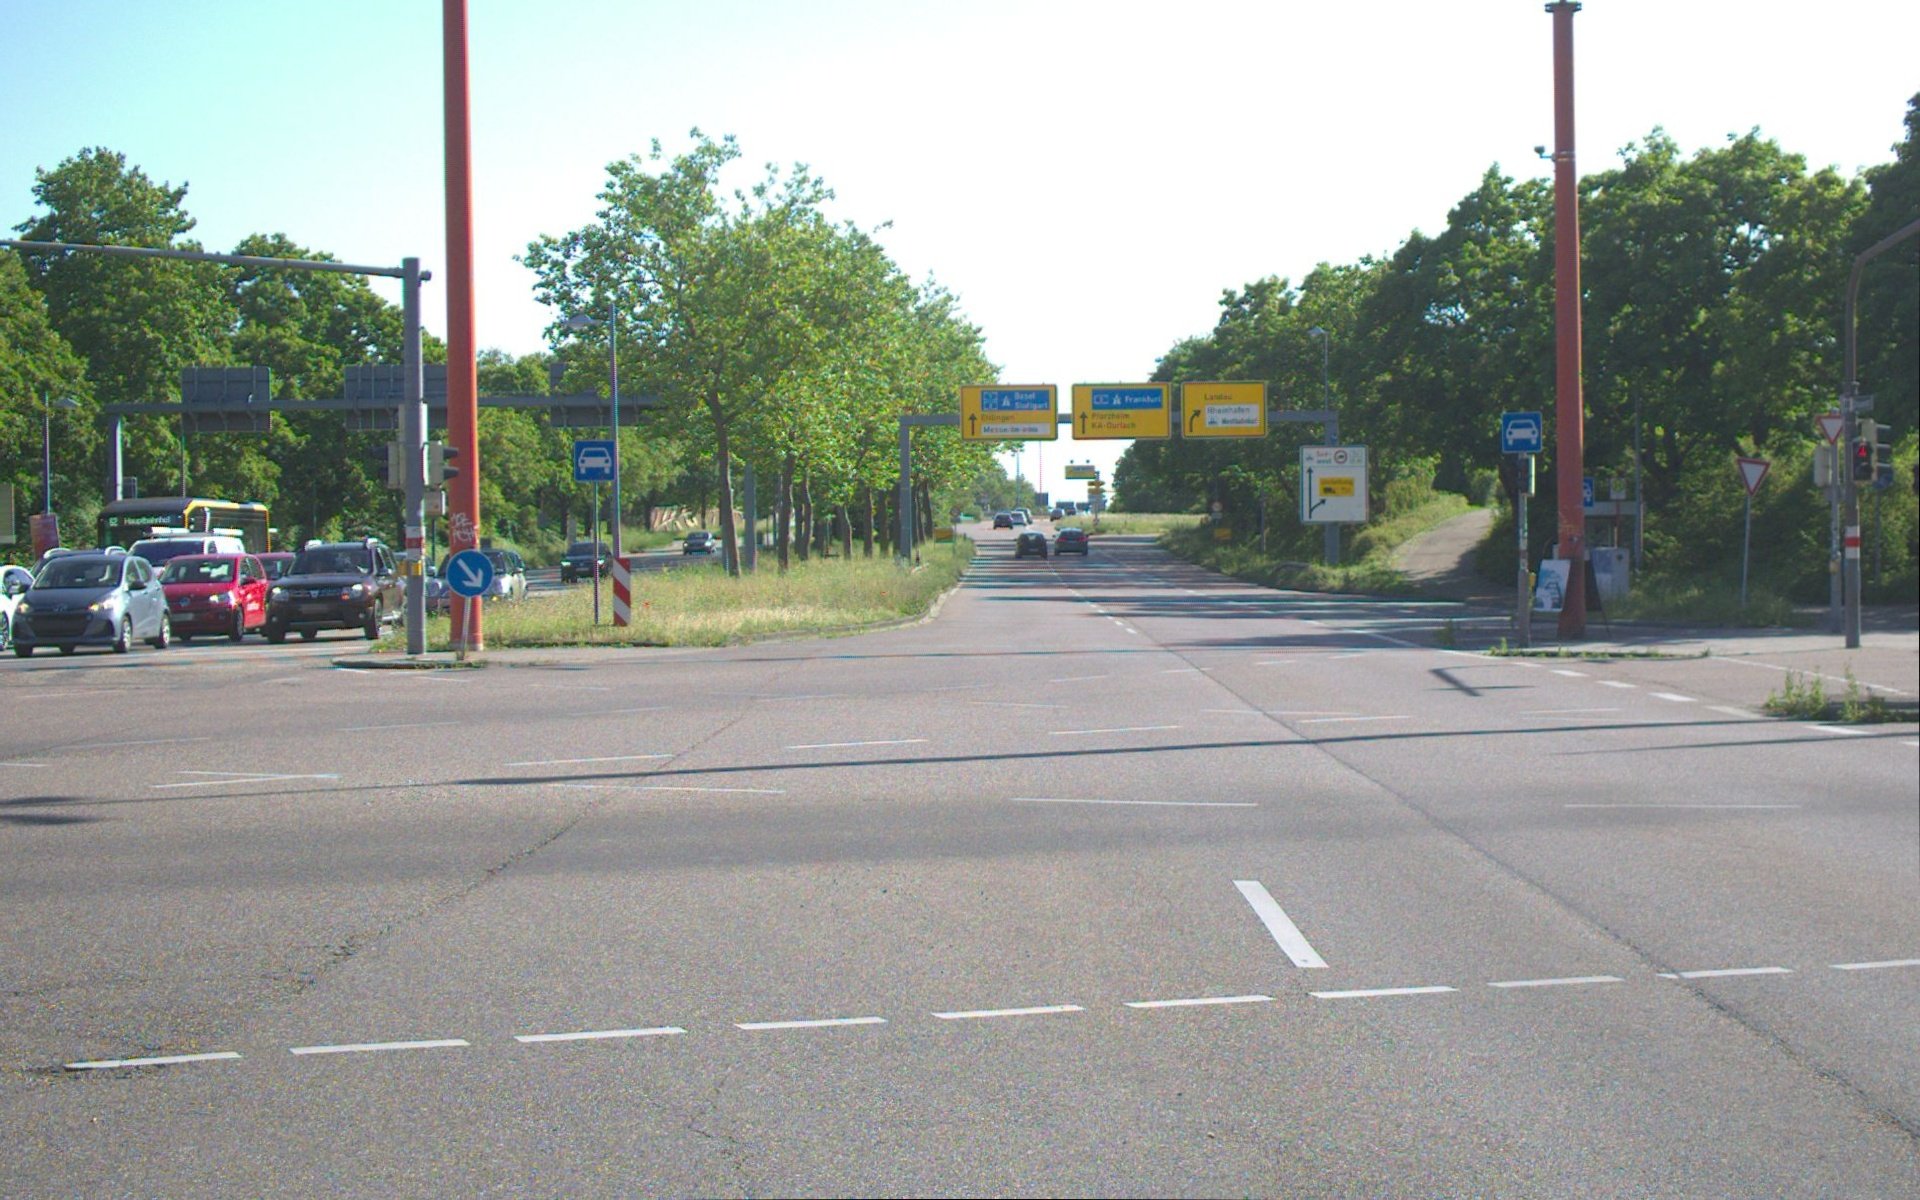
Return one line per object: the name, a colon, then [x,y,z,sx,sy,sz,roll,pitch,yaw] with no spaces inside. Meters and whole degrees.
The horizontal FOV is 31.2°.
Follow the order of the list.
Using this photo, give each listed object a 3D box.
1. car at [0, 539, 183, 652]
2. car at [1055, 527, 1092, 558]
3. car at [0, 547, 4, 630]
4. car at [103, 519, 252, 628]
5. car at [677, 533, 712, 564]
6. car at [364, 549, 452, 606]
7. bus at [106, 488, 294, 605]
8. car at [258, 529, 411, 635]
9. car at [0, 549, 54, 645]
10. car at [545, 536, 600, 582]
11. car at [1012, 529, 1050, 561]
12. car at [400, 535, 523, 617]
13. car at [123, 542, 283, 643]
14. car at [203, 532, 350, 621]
car: [-13.214,-0.098,52.288,1.874,1.545,4.028,-2,1,-1]
car: [6.608,-3.334,200.601,1.993,1.727,4.000,1,1,-1]
car: [-19.988,-0.196,66.802,1.778,1.646,3.974,-3,0,-2]
car: [-16.064,-0.567,70.827,1.961,2.147,5.082,-1,1,-1]
car: [-17.115,-3.316,221.939,1.920,1.992,4.604,-1,1,-1]
car: [-15.903,-0.656,99.177,1.885,1.538,4.000,-2,1,-1]
bus: [-22.447,-1.557,102.303,2.646,3.250,12.536,1,1,1]
car: [-10.209,-0.327,56.364,1.793,1.620,4.144,-2,1,-1]
car: [-16.528,-0.049,57.279,1.901,1.549,4.000,-2,1,-2]
car: [-15.825,-1.681,140.438,1.837,1.831,3.961,-1,1,-1]
car: [3.946,-3.075,191.099,1.993,1.727,4.000,1,1,-1]
car: [-9.927,-0.496,68.713,1.885,1.538,4.000,-2,1,-1]
car: [-12.863,-0.157,58.626,1.875,1.547,4.000,-4,1,-2]
car: [-12.802,-0.453,64.623,1.901,1.624,4.000,0,1,1]
